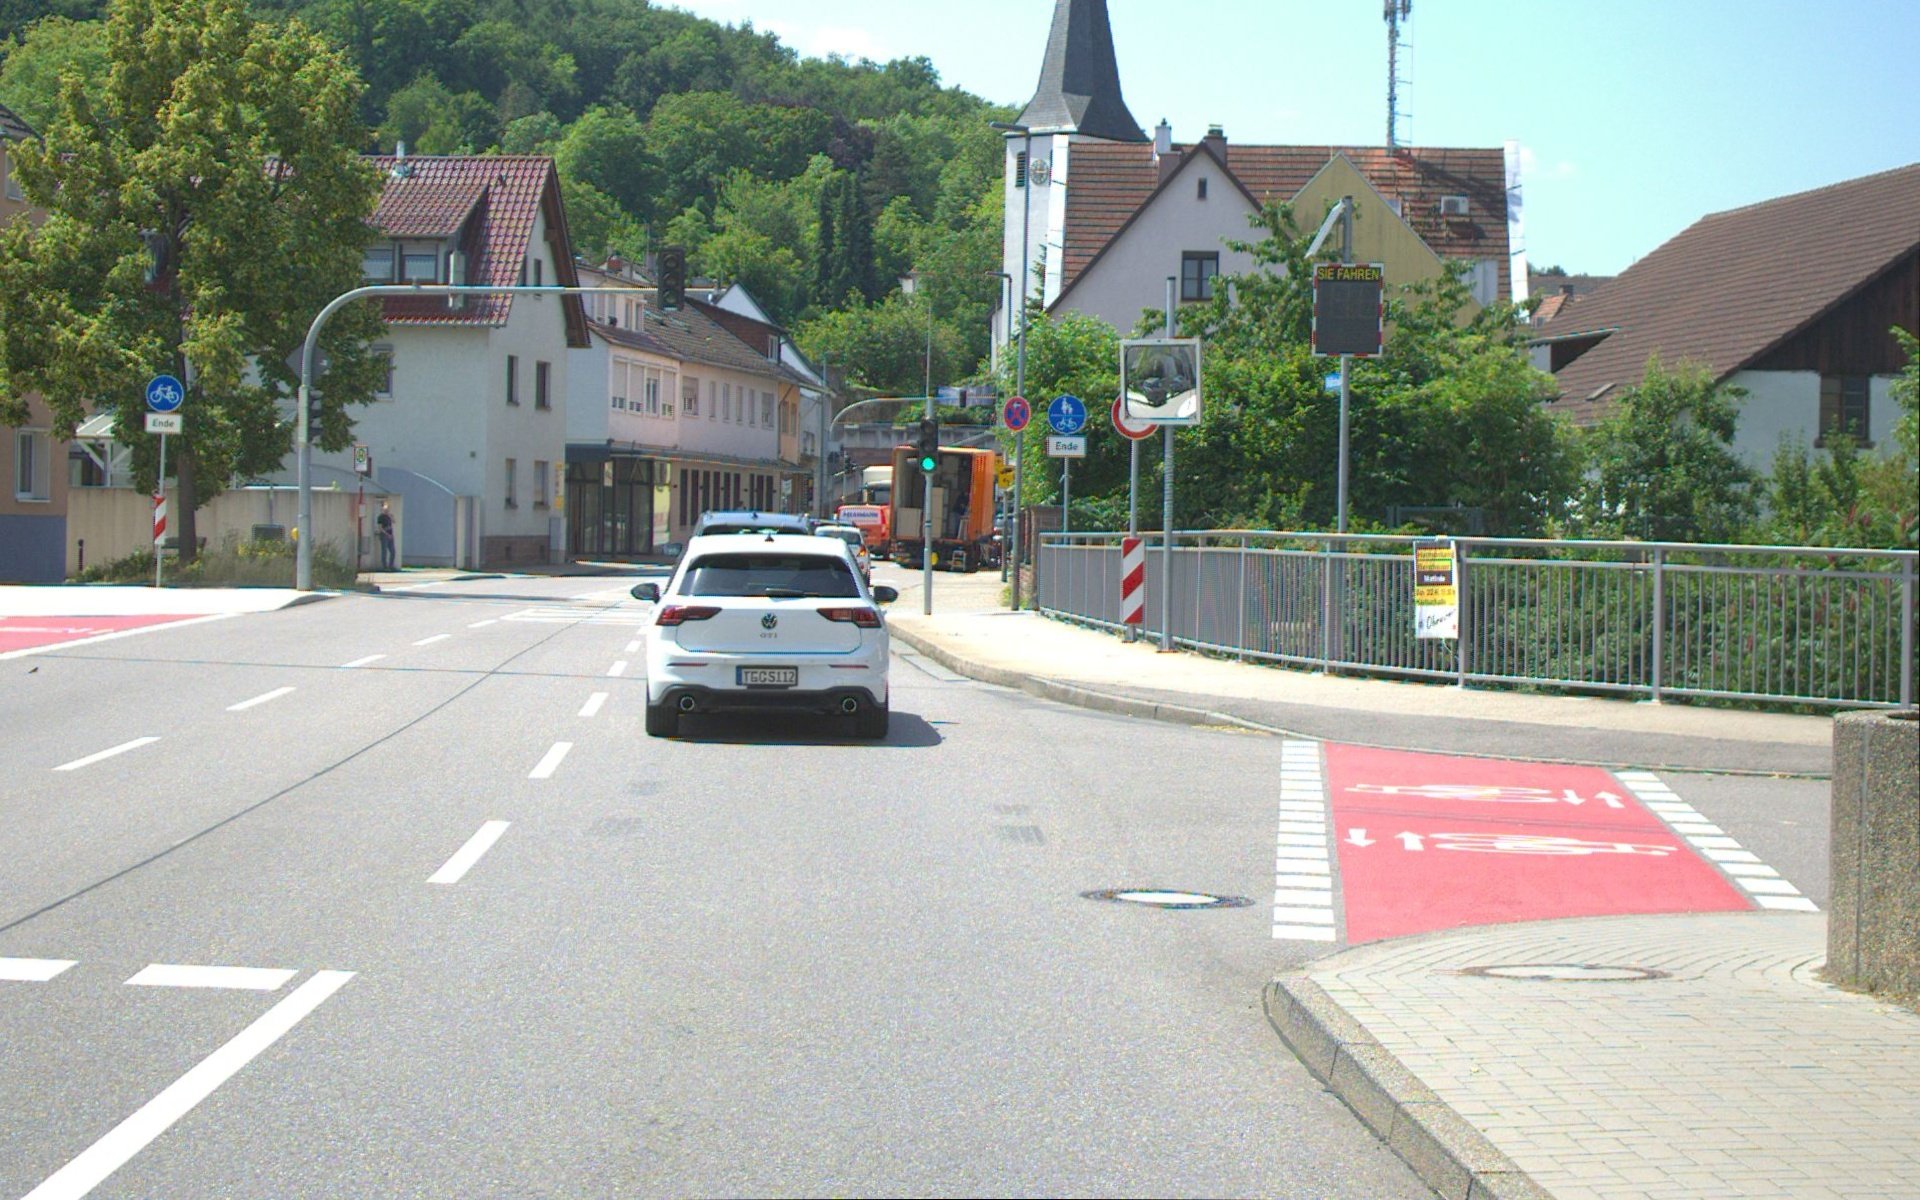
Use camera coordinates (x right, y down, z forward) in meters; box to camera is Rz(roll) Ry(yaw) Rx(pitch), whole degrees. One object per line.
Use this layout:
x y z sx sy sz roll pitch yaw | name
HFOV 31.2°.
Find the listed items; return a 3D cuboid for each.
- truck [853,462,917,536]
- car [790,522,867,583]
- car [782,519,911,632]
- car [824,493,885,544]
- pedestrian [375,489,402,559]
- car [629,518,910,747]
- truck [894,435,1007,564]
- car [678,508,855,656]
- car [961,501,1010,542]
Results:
-3.373 -4.535 155.324 2.502 3.224 6.040 0 1 2 | truck
-3.337 -1.222 87.873 1.815 1.514 4.000 0 1 0 | car
-1.676 -0.381 51.892 1.815 1.623 4.000 0 1 0 | car
-3.651 -2.817 119.491 1.993 1.699 4.312 0 1 0 | car
-14.245 -1.896 85.757 0.434 1.758 0.556 1 1 19 | pedestrian
-1.348 0.199 25.789 1.815 1.514 4.000 2 1 0 | car
-0.248 -3.291 115.460 3.367 4.155 9.518 0 1 2 | truck
-2.187 -0.228 39.798 1.815 1.623 4.000 0 1 0 | car
0.956 -2.974 130.844 1.815 1.514 4.000 0 1 0 | car
